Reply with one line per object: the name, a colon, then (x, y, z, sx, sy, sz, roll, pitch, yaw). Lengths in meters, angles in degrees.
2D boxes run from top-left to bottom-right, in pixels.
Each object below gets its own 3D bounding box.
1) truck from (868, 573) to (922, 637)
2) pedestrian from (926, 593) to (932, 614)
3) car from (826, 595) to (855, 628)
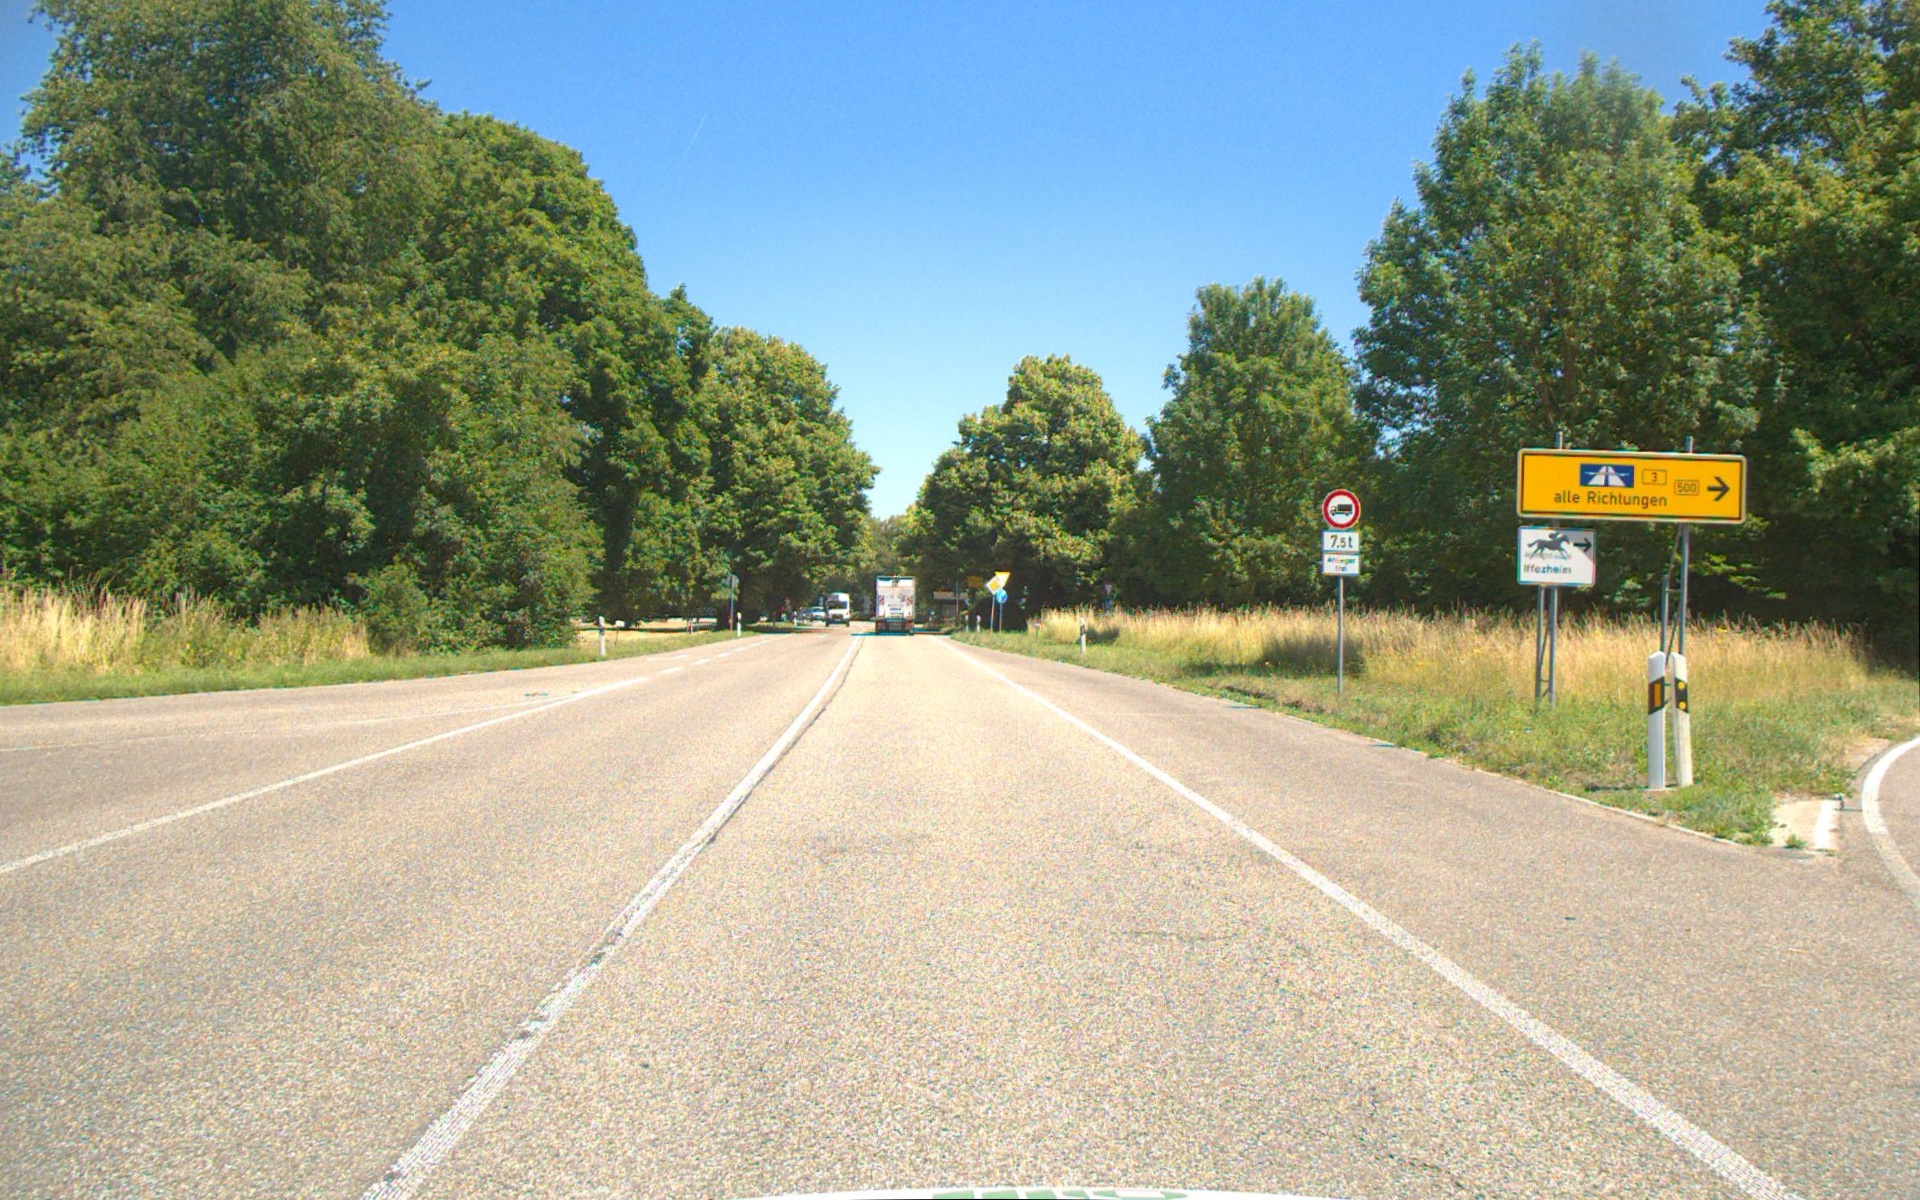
truck: (-3.329, 0.234, 86.382, 2.481, 3.190, 5.362, 0, 0, 1)
pedestrian: (-2.722, 0.307, 145.345, 0.536, 1.807, 0.577, 0, -1, 1)
car: (-9.903, 0.981, 137.229, 2.031, 2.674, 6.782, 0, -1, -1)
